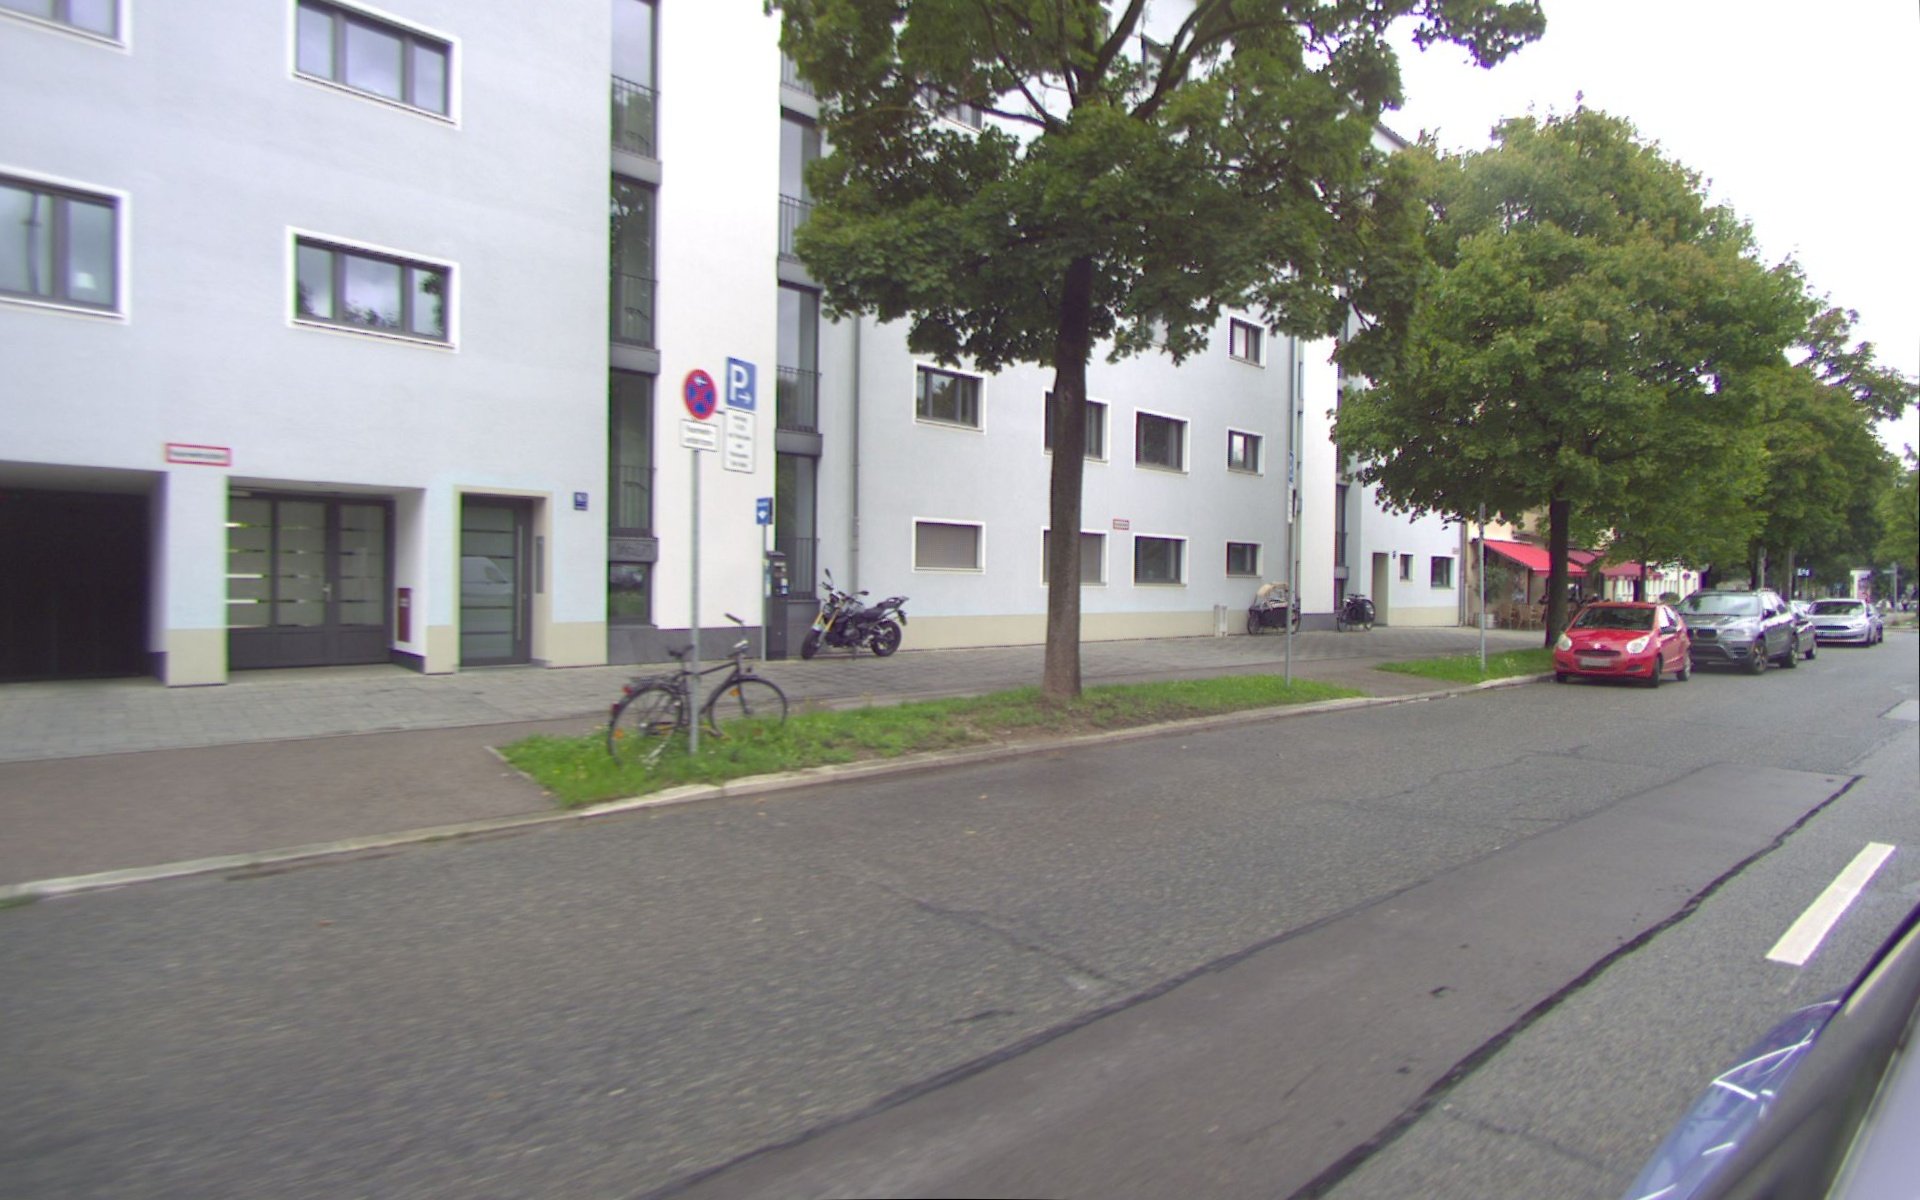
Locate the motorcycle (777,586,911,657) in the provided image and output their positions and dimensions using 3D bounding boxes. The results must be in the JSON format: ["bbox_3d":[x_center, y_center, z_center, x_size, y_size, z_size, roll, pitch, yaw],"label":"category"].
[{"bbox_3d":[-1.902,0.326,16.830,2.161,1.099,0.762,0,1,-41],"label":"motorcycle"}]

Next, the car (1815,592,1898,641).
[{"bbox_3d":[30.330,0.524,34.192,4.450,1.541,1.830,0,0,-45],"label":"car"}]

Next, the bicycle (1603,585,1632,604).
[{"bbox_3d":[42.053,-0.337,64.737,0.687,1.170,1.471,0,1,-42],"label":"bicycle"}]

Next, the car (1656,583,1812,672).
[{"bbox_3d":[17.084,0.534,22.271,4.428,1.768,1.833,0,1,-40],"label":"car"}]

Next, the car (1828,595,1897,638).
[{"bbox_3d":[34.095,0.586,38.202,1.829,1.491,3.826,1,1,44],"label":"car"}]

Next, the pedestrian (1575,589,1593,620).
[{"bbox_3d":[27.510,0.186,44.622,0.543,1.356,0.539,0,0,-42],"label":"pedestrian"}]

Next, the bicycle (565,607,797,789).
[{"bbox_3d":[-2.202,0.715,8.320,0.452,1.271,2.126,1,1,30],"label":"bicycle"}]

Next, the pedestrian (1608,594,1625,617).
[{"bbox_3d":[30.436,0.256,46.894,0.478,1.067,0.539,0,0,-41],"label":"pedestrian"}]

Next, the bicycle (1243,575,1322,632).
[{"bbox_3d":[8.565,0.083,26.834,2.547,1.424,0.704,0,4,-41],"label":"bicycle"}]

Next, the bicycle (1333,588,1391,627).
[{"bbox_3d":[11.928,0.218,29.968,2.157,1.059,0.623,0,4,-41],"label":"bicycle"}]

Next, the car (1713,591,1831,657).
[{"bbox_3d":[20.805,0.551,25.888,3.706,1.541,1.832,0,1,-43],"label":"car"}]

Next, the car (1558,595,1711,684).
[{"bbox_3d":[12.467,0.648,18.607,3.933,1.459,1.522,0,0,-44],"label":"car"}]

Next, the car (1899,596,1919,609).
[{"bbox_3d":[117.339,0.291,124.763,4.225,1.486,1.826,0,1,-41],"label":"car"}]

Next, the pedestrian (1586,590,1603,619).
[{"bbox_3d":[28.455,0.213,45.359,0.478,1.284,0.539,0,0,-42],"label":"pedestrian"}]

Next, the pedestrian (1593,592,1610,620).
[{"bbox_3d":[29.178,0.275,46.005,0.478,1.229,0.539,0,0,-41],"label":"pedestrian"}]

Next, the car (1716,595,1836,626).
[{"bbox_3d":[40.836,0.498,50.758,1.959,1.460,4.229,0,1,-27],"label":"car"}]
